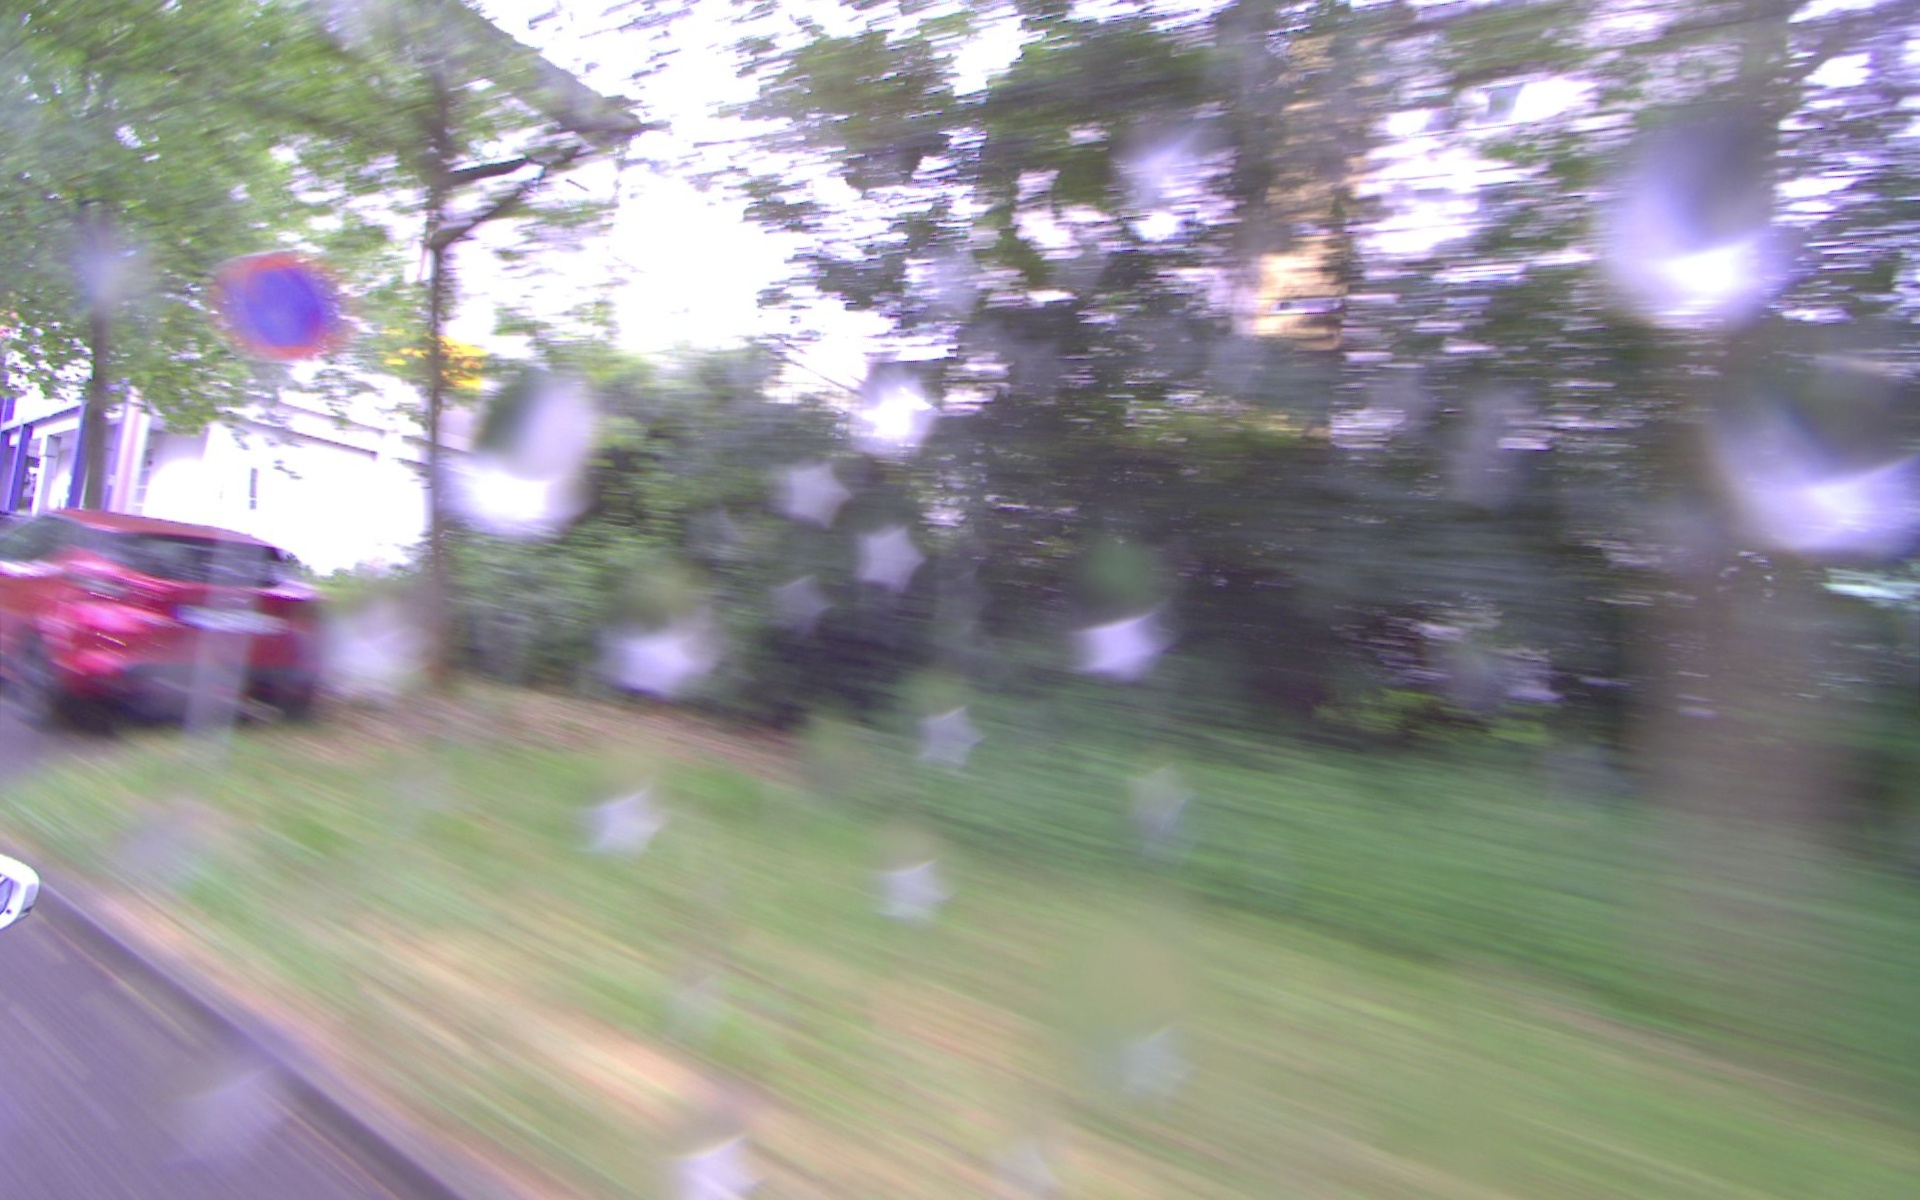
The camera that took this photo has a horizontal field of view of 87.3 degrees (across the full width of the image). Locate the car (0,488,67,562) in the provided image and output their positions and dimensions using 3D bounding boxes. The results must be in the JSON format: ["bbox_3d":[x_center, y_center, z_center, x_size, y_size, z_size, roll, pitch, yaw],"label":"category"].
[{"bbox_3d":[-25.822,-2.213,25.392,1.739,1.699,4.478,8,-2,34],"label":"car"}]

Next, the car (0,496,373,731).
[{"bbox_3d":[-6.548,0.022,7.877,3.683,1.388,1.800,6,-1,33],"label":"car"}]
